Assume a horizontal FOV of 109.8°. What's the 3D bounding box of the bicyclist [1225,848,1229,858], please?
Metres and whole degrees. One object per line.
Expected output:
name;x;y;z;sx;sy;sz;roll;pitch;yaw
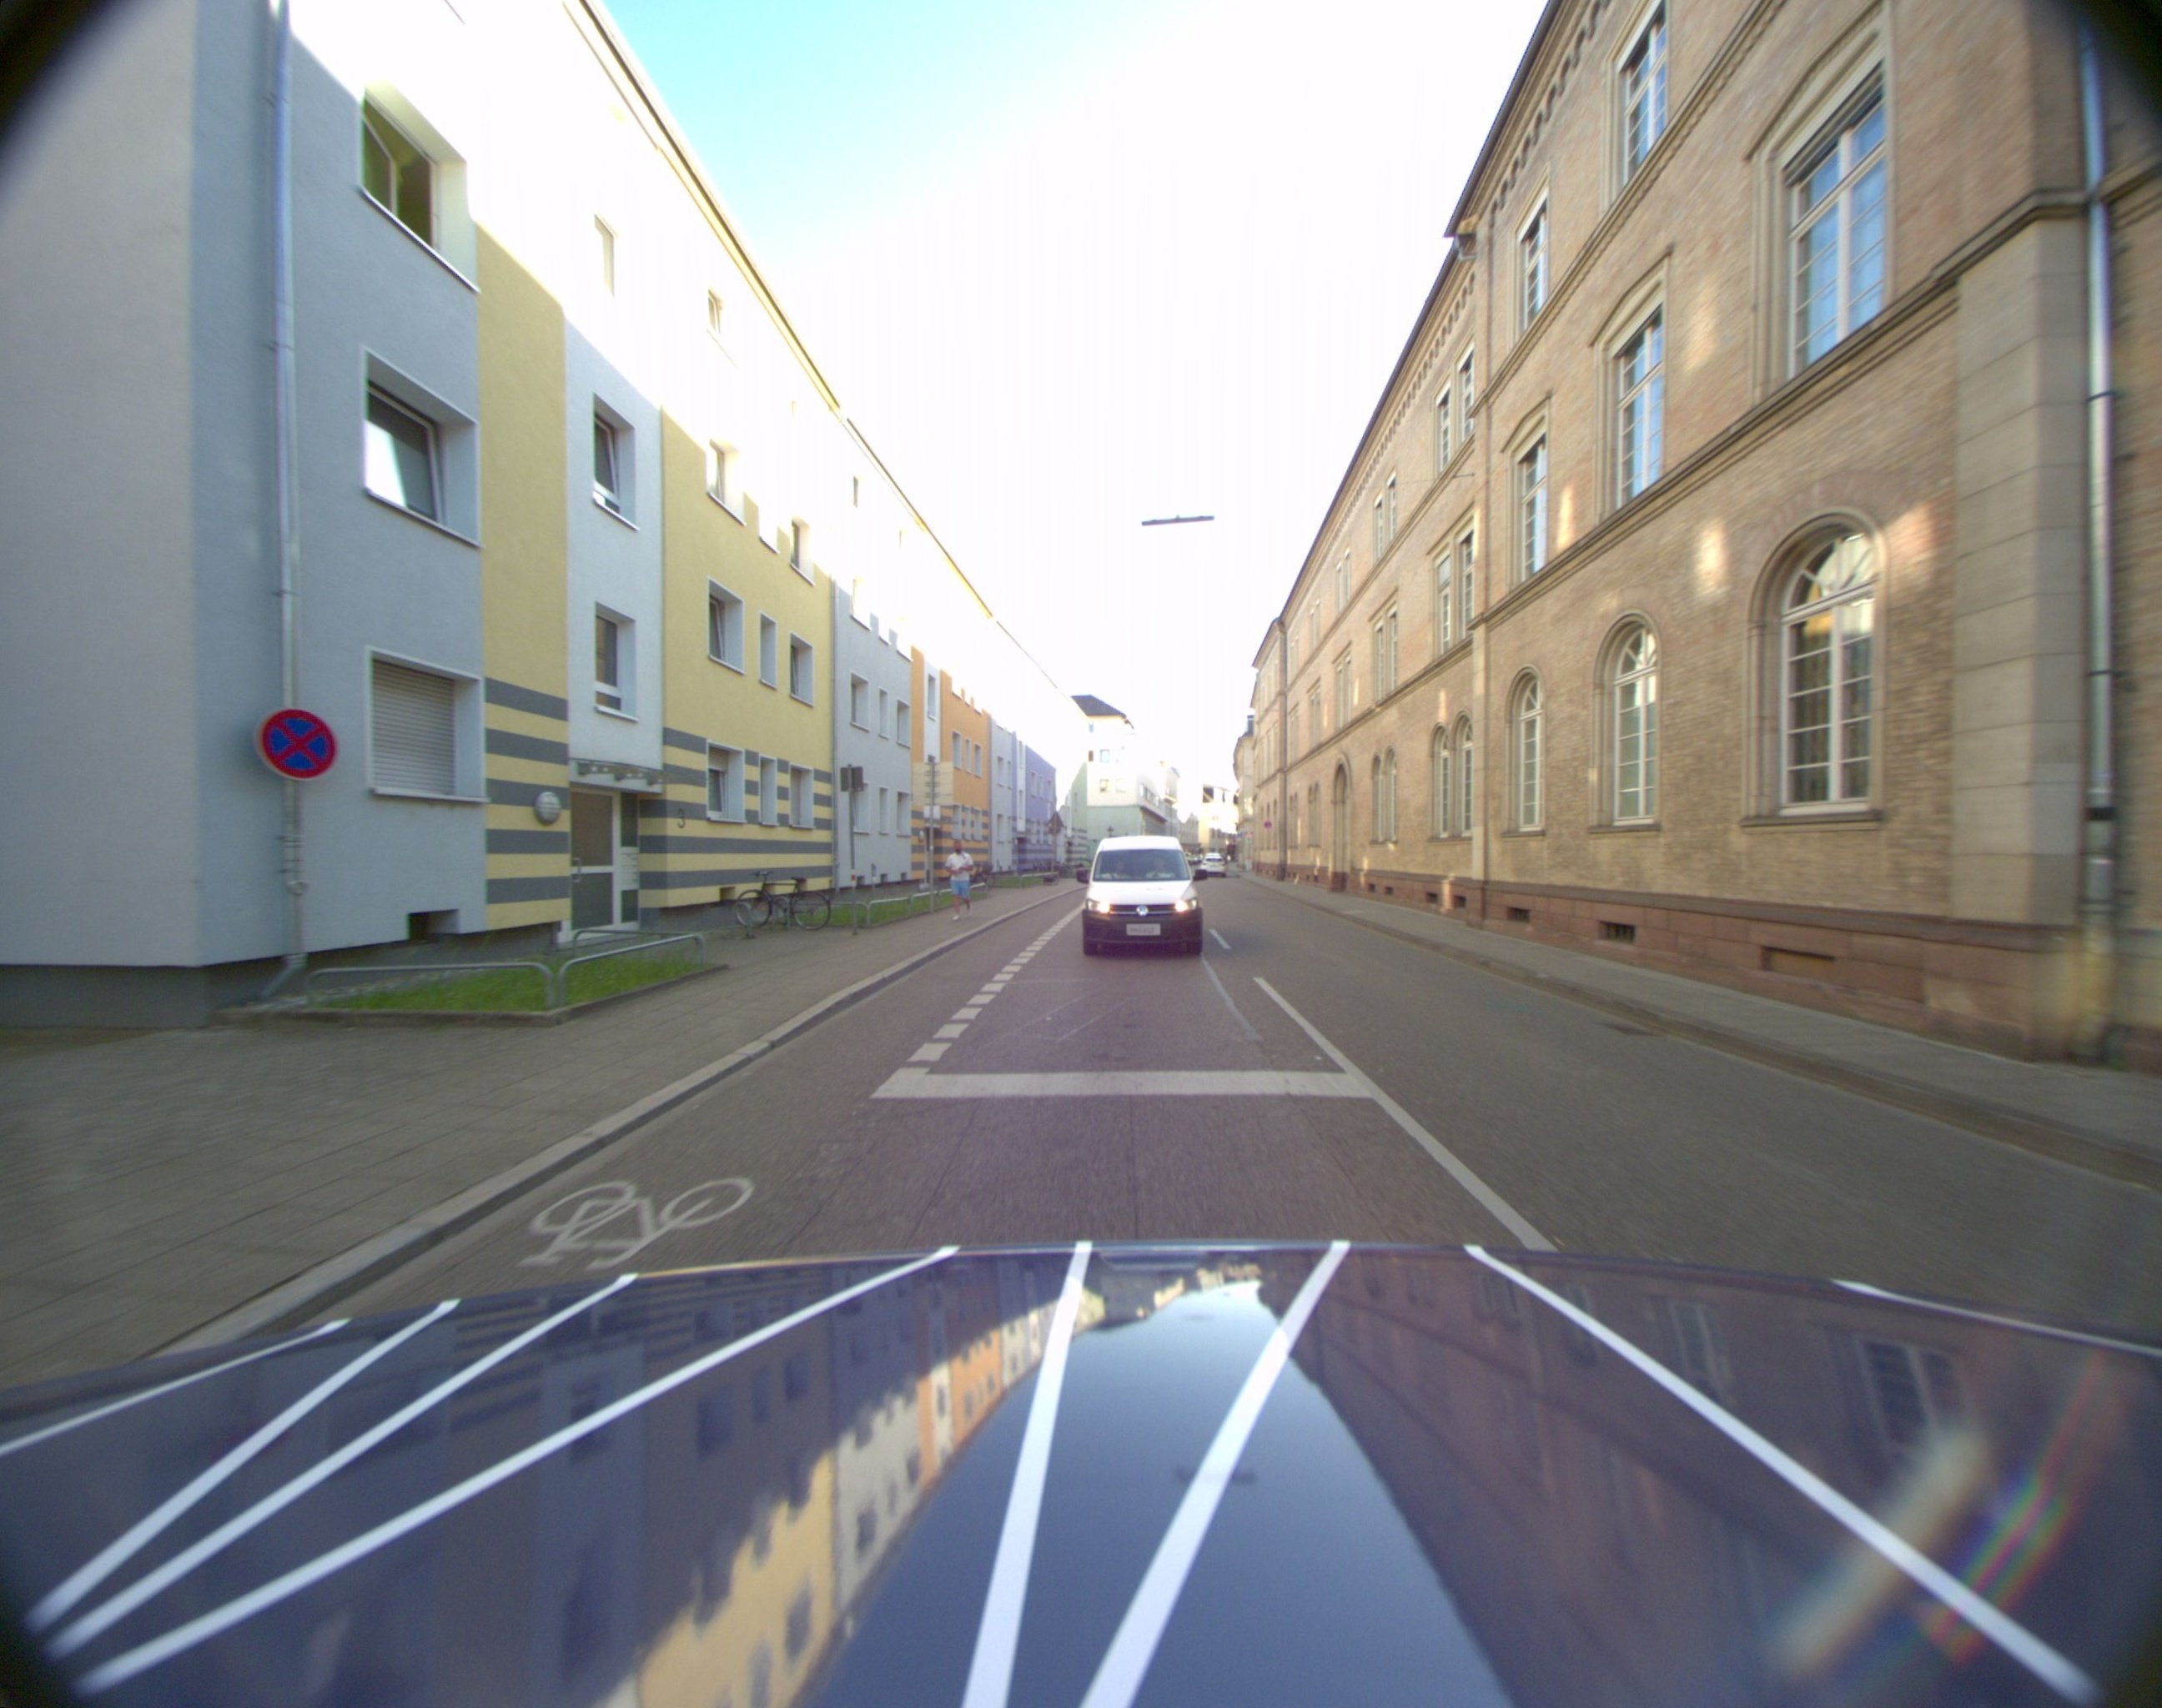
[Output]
bicyclist;23.580;-0.160;122.591;0.651;1.500;1.112;2;1;12

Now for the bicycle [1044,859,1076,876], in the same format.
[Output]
bicycle;-1.234;0.791;44.237;1.775;0.934;0.584;2;1;11

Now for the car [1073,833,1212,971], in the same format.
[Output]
car;1.001;0.623;12.730;1.818;1.826;5.342;0;0;4

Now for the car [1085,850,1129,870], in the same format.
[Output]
car;2.541;0.576;73.732;3.994;1.682;1.902;-2;1;8

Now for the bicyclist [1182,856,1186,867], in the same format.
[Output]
bicyclist;10.466;0.737;77.030;0.348;1.101;0.368;0;1;10

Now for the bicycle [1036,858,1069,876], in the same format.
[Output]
bicycle;-1.659;0.756;43.644;1.775;0.990;0.584;2;1;11

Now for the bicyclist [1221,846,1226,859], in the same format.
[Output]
bicyclist;16.299;-0.168;86.834;0.604;1.434;0.579;0;1;8

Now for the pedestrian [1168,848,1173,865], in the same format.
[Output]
pedestrian;9.507;0.292;80.689;0.508;1.752;0.411;0;1;8

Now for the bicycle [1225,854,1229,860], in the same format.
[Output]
bicycle;23.532;0.449;122.577;0.651;1.001;1.877;2;1;12

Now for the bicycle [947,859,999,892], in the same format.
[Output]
bicycle;-3.931;0.785;27.646;1.776;1.118;0.583;2;1;2

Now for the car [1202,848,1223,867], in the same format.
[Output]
car;11.715;0.292;67.628;1.688;1.573;4.278;2;1;11

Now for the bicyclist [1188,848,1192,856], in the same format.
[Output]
bicyclist;16.372;-0.263;114.360;0.548;1.204;0.584;0;1;9

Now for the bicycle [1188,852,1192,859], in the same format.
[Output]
bicycle;16.378;0.255;114.385;0.548;1.076;1.965;0;1;10

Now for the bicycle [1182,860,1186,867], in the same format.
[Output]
bicycle;10.467;0.992;77.029;0.348;0.719;1.118;0;1;10

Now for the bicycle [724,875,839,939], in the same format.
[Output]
bicycle;-5.243;0.918;13.364;1.776;1.043;0.583;1;1;-1

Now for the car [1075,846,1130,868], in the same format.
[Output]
car;1.994;0.264;70.234;4.760;1.927;2.002;0;1;12

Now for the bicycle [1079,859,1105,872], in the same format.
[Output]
bicycle;0.815;0.845;56.397;1.775;0.934;0.584;2;1;11

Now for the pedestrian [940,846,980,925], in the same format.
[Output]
pedestrian;-2.607;0.658;16.484;0.644;1.662;0.834;1;1;6

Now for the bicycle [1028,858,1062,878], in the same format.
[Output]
bicycle;-2.012;0.775;42.320;1.775;0.990;0.584;2;1;11

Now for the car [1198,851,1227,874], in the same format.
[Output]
car;9.359;0.585;54.196;1.890;1.467;4.547;2;1;8

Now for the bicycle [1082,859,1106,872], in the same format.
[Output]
bicycle;0.984;0.865;57.928;1.775;0.934;0.584;2;1;11
